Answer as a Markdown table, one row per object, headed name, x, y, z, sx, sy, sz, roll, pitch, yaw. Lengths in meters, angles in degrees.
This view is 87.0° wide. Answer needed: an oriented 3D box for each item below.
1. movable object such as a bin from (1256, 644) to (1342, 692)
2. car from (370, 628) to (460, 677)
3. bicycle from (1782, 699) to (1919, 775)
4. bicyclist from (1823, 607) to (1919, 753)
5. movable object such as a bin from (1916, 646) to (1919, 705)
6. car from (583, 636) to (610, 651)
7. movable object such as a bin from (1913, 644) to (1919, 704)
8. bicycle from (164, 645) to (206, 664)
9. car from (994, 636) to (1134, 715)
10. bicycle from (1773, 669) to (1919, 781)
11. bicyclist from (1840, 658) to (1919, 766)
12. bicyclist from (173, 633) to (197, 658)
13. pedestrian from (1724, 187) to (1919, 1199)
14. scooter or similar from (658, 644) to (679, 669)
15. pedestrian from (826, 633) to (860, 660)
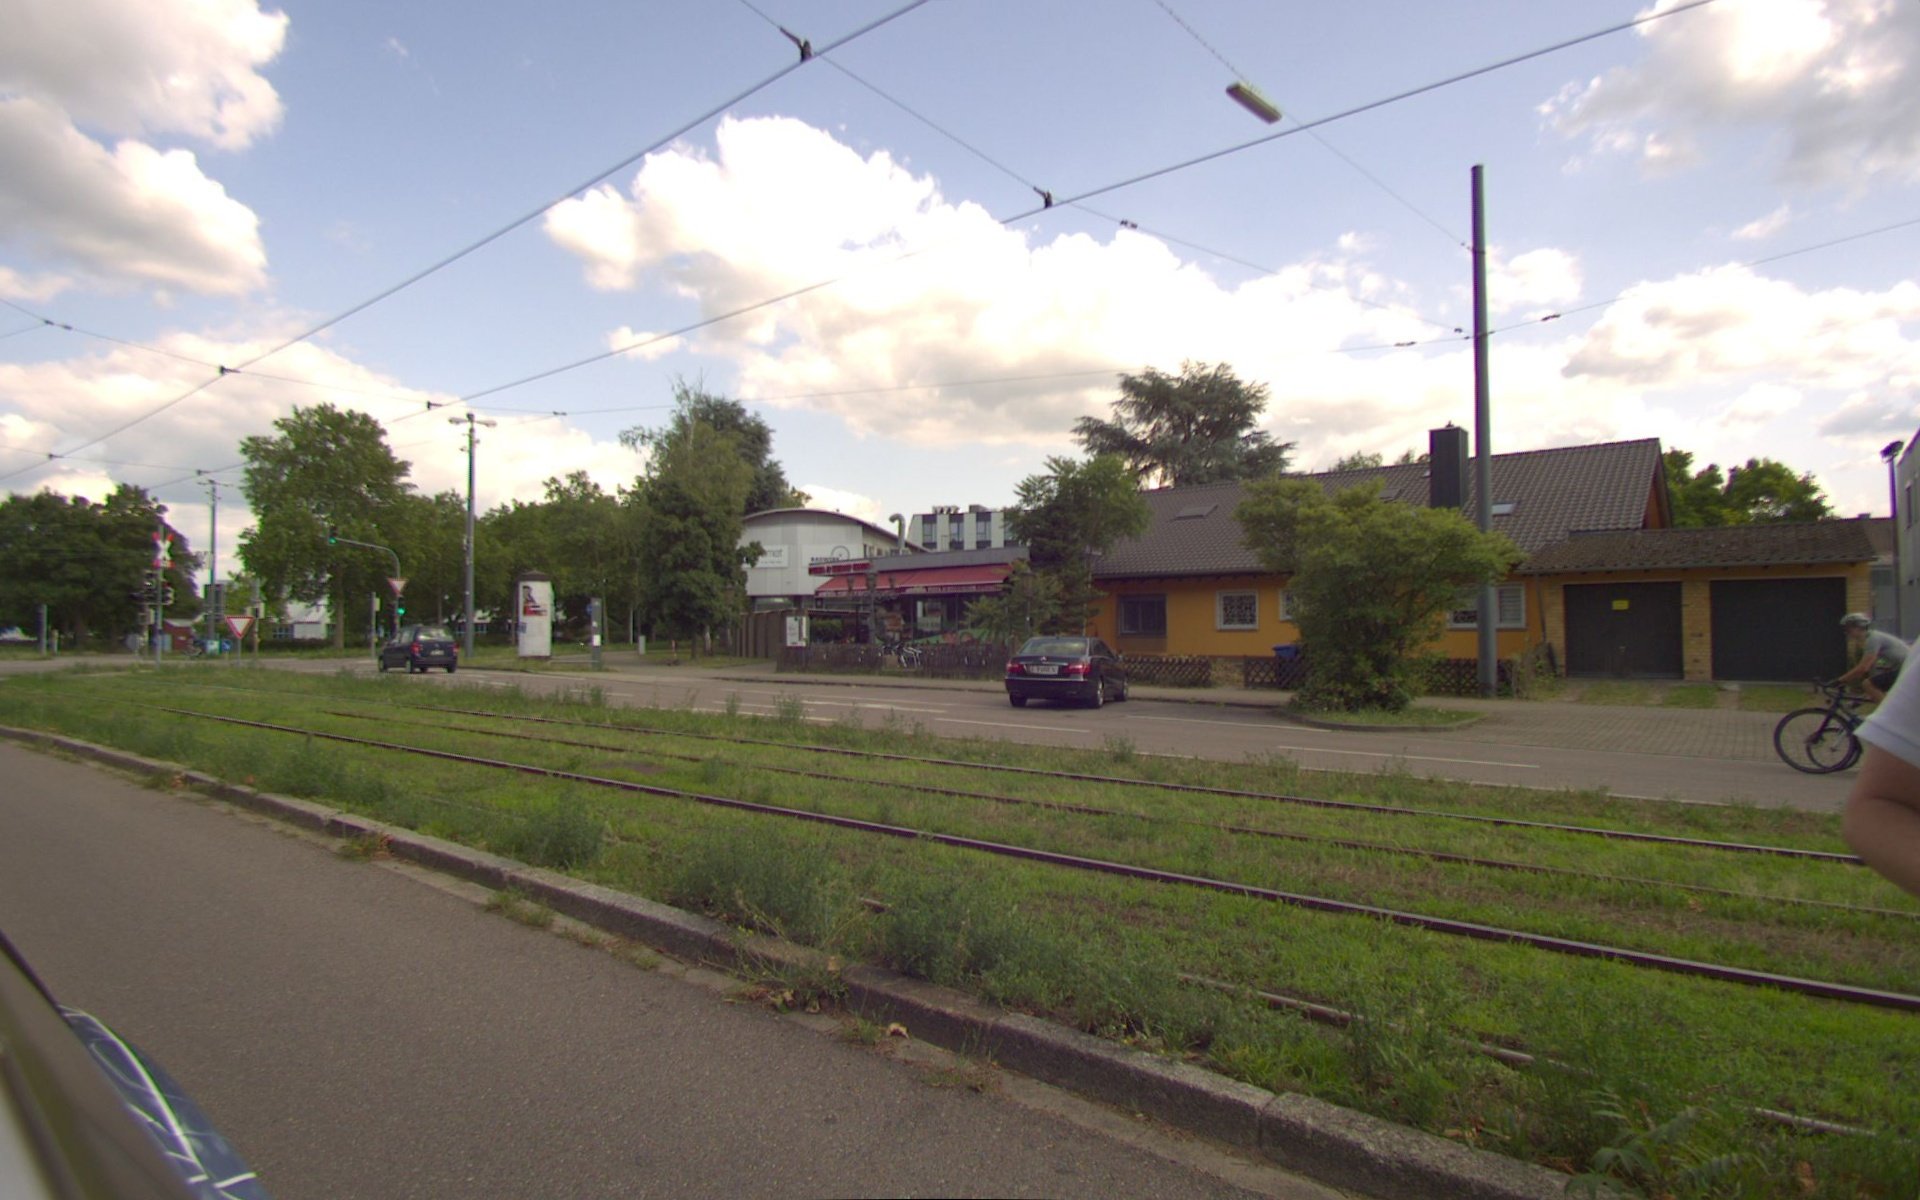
| name | x | y | z | sx | sy | sz | roll | pitch | yaw |
| --- | --- | --- | --- | --- | --- | --- | --- | --- | --- |
| movable object such as a bin | 8.146 | 1.610 | 24.335 | 1.616 | 1.109 | 1.242 | -2 | -3 | 39 |
| car | -19.450 | 1.820 | 36.060 | 3.495 | 1.639 | 1.759 | -1 | -2 | 42 |
| bicycle | 10.171 | 1.497 | 11.047 | 1.805 | 0.723 | 0.638 | -2 | -3 | 44 |
| bicyclist | 9.709 | 0.824 | 10.612 | 0.929 | 1.469 | 0.616 | -2 | -3 | 45 |
| movable object such as a bin | 17.316 | 1.341 | 17.926 | 0.481 | 1.050 | 0.499 | -3 | -2 | 40 |
| car | -38.385 | 4.589 | 106.826 | 1.674 | 1.535 | 3.860 | 0 | -2 | -4 |
| movable object such as a bin | 17.670 | 1.336 | 18.352 | 0.479 | 1.050 | 0.488 | -3 | -2 | 40 |
| bicycle | -46.365 | 3.264 | 60.522 | 2.045 | 1.068 | 0.802 | -2 | -2 | 9 |
| car | 2.306 | 1.493 | 21.200 | 1.869 | 1.418 | 4.620 | 1 | -2 | 20 |
| bicycle | 9.715 | 1.290 | 10.592 | 1.805 | 1.088 | 0.638 | -2 | -3 | 45 |
| bicyclist | 10.221 | 1.201 | 10.995 | 0.929 | 1.121 | 0.632 | -2 | -3 | 44 |
| bicyclist | -46.374 | 2.728 | 60.536 | 0.822 | 1.481 | 0.802 | -2 | -2 | 8 |
| pedestrian | 1.435 | 0.437 | 0.999 | 0.836 | 1.699 | 0.808 | 0 | -2 | -32 |
| scooter or similar | -12.201 | 2.360 | 42.356 | 0.421 | 1.041 | 1.225 | 1 | -3 | -40 |
| pedestrian | -5.033 | 1.981 | 43.555 | 0.931 | 1.155 | 1.141 | -2 | -3 | 41 |
